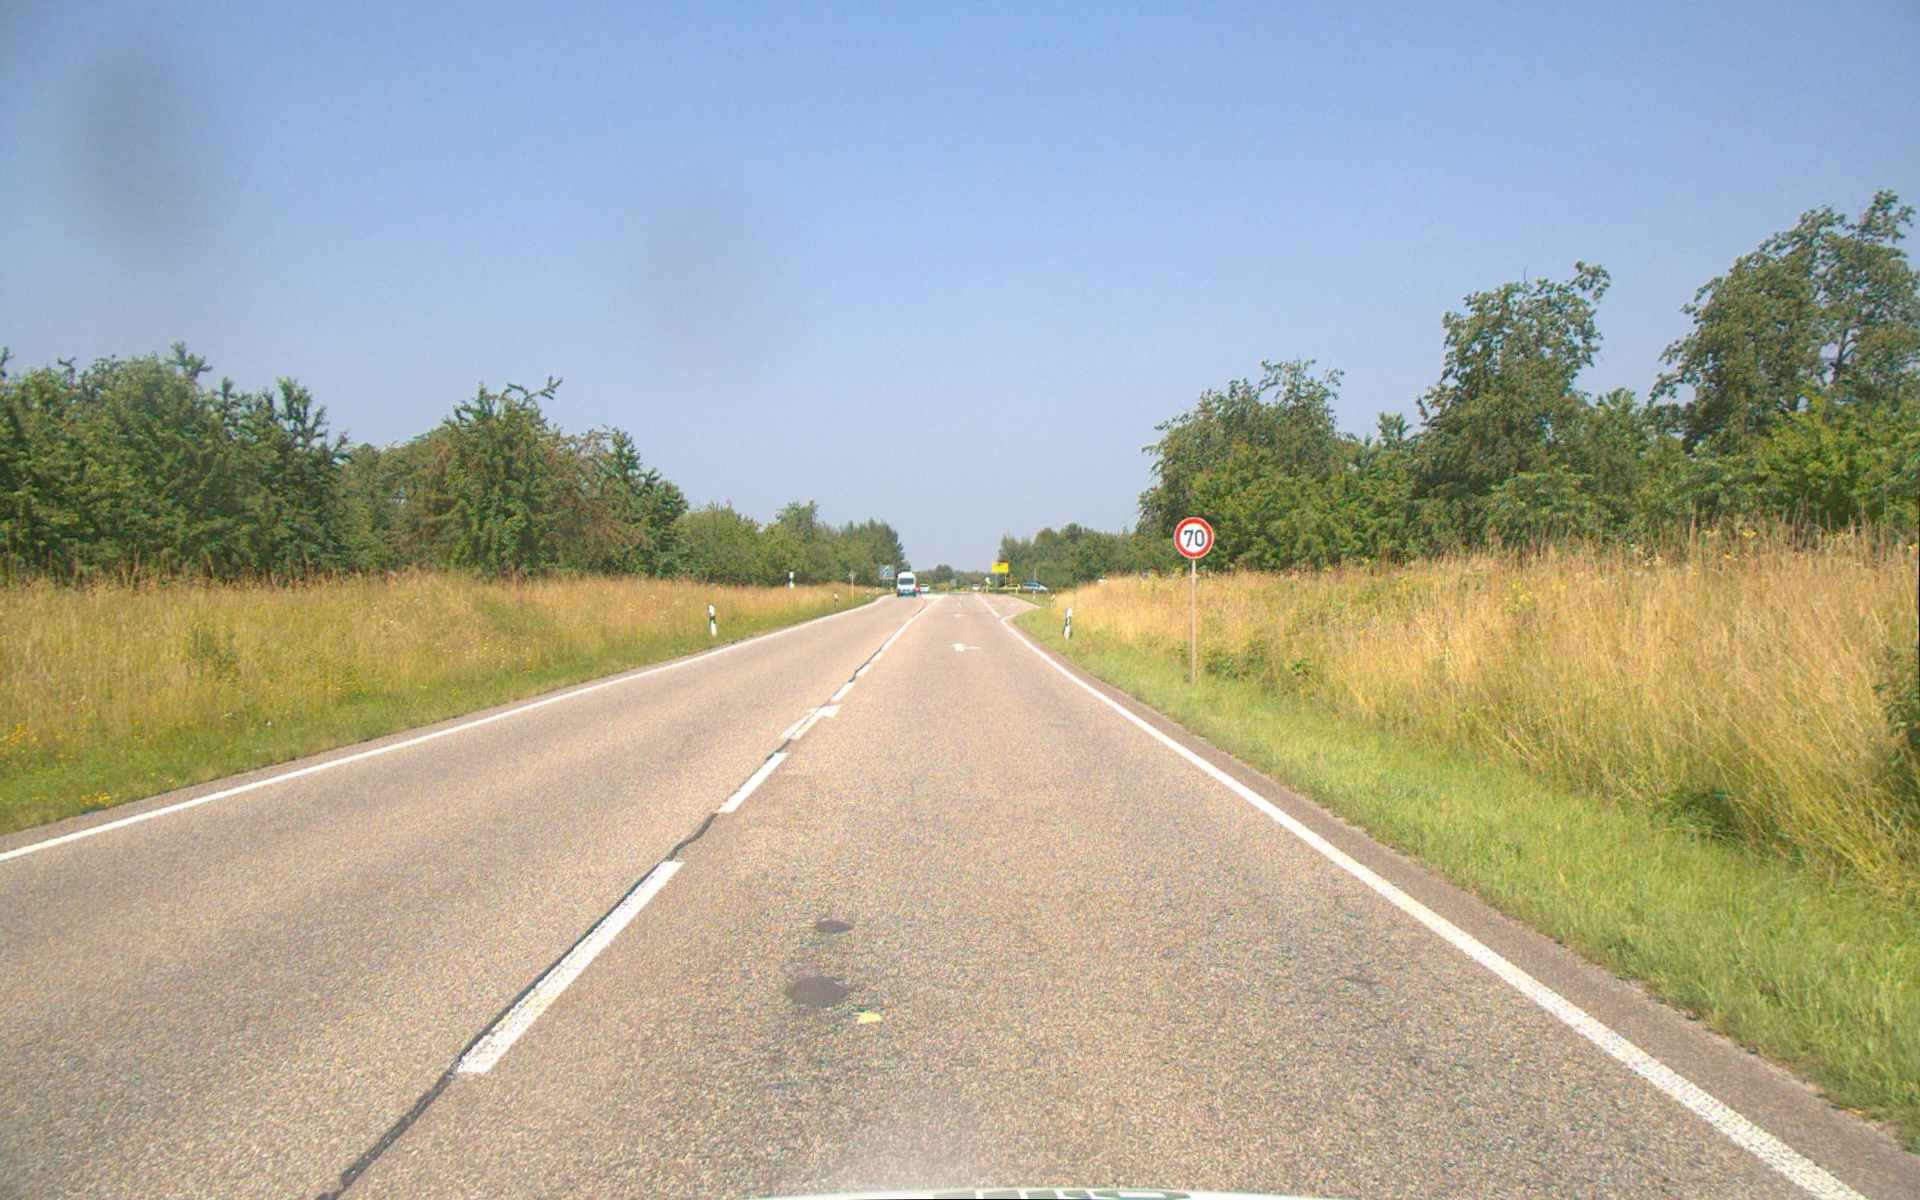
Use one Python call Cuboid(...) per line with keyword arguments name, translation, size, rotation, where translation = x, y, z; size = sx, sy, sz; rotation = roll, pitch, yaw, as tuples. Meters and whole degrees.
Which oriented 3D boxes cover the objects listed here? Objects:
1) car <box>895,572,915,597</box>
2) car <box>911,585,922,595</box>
Cuboid(name="car", translation=(-6.005, -1.659, 181.988), size=(2.117, 2.715, 6.141), rotation=(0, 0, -1))
Cuboid(name="car", translation=(-6.560, -1.503, 251.255), size=(1.592, 1.482, 3.620), rotation=(0, 0, -1))
